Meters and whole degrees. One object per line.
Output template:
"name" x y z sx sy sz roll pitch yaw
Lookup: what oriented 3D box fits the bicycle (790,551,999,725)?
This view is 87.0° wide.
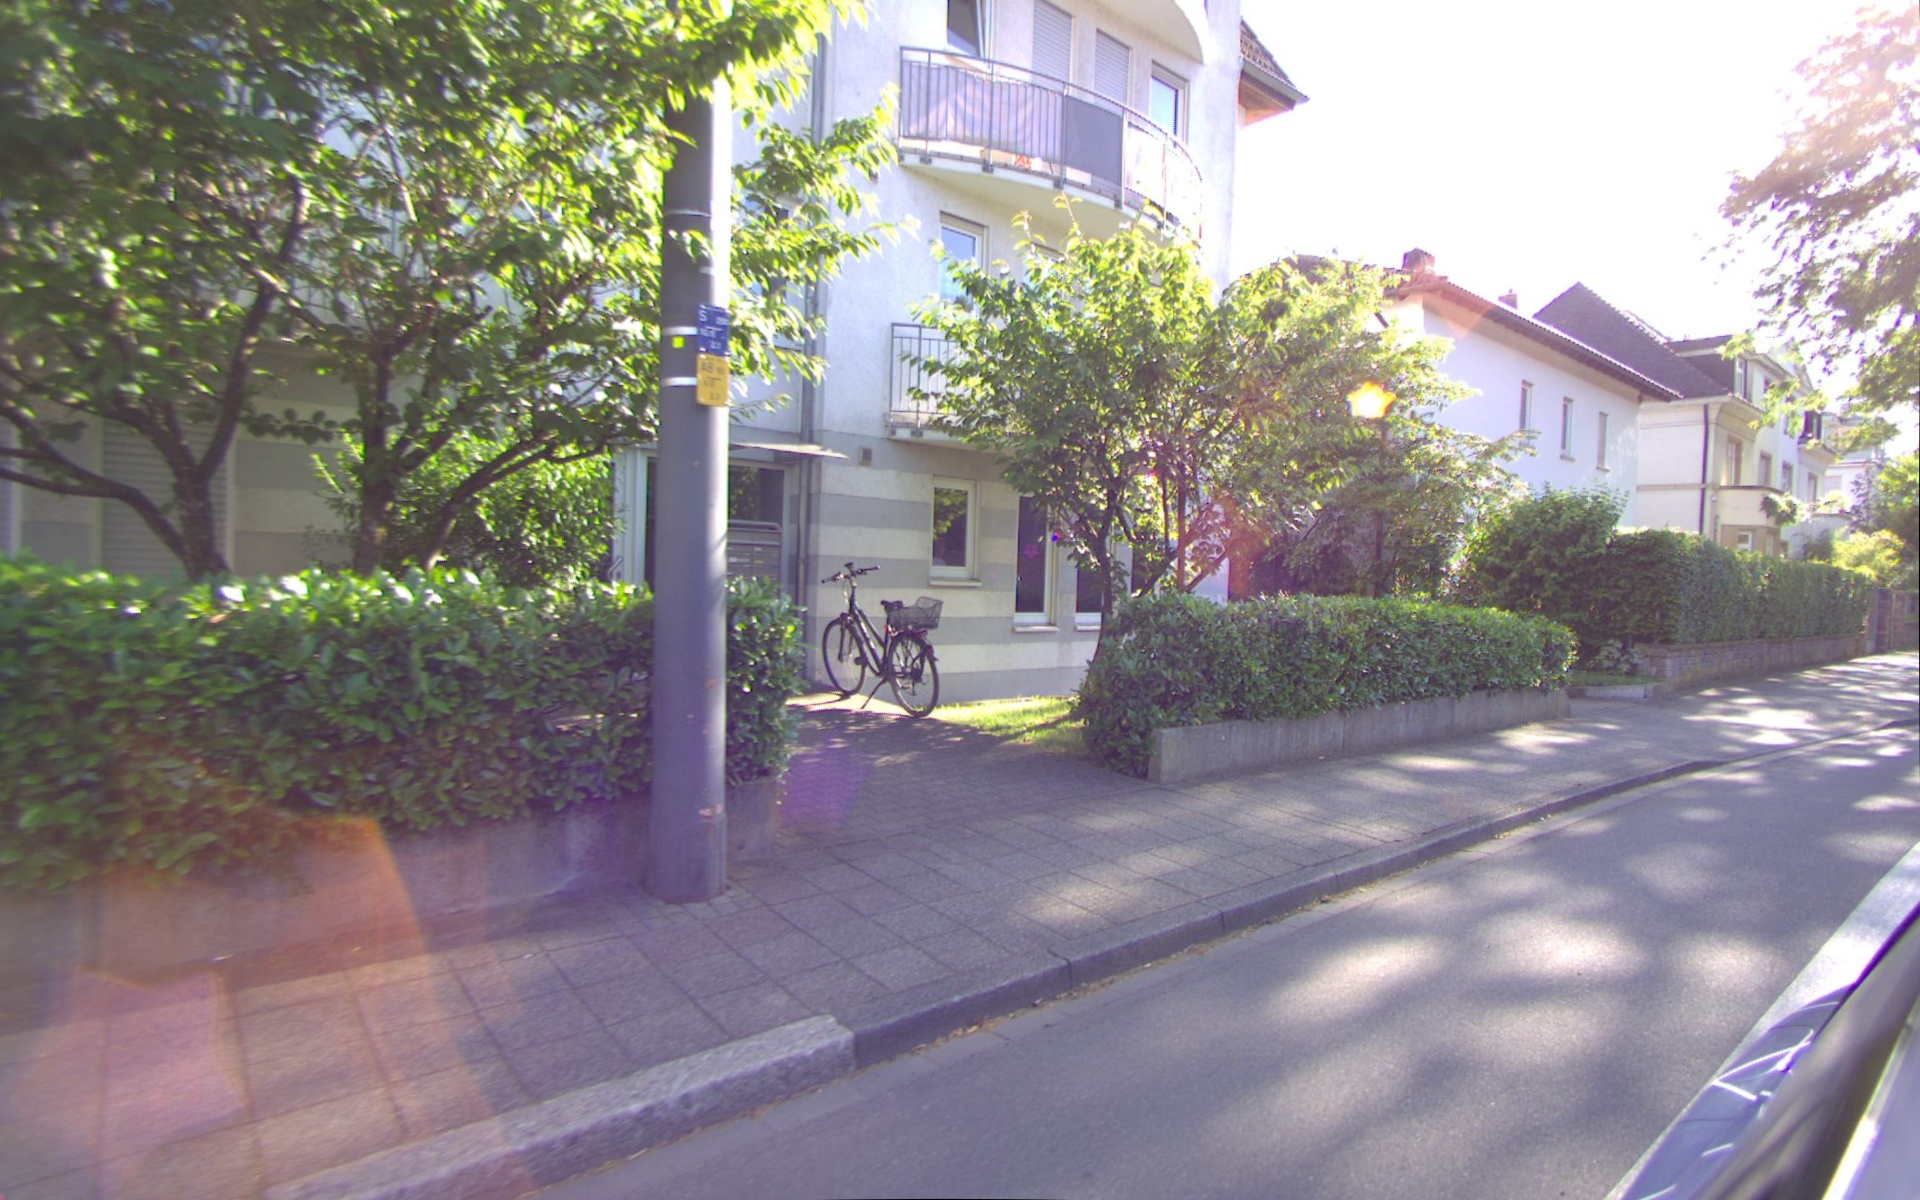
"bicycle" -0.614 0.259 8.721 0.811 1.217 1.846 0 6 -40
